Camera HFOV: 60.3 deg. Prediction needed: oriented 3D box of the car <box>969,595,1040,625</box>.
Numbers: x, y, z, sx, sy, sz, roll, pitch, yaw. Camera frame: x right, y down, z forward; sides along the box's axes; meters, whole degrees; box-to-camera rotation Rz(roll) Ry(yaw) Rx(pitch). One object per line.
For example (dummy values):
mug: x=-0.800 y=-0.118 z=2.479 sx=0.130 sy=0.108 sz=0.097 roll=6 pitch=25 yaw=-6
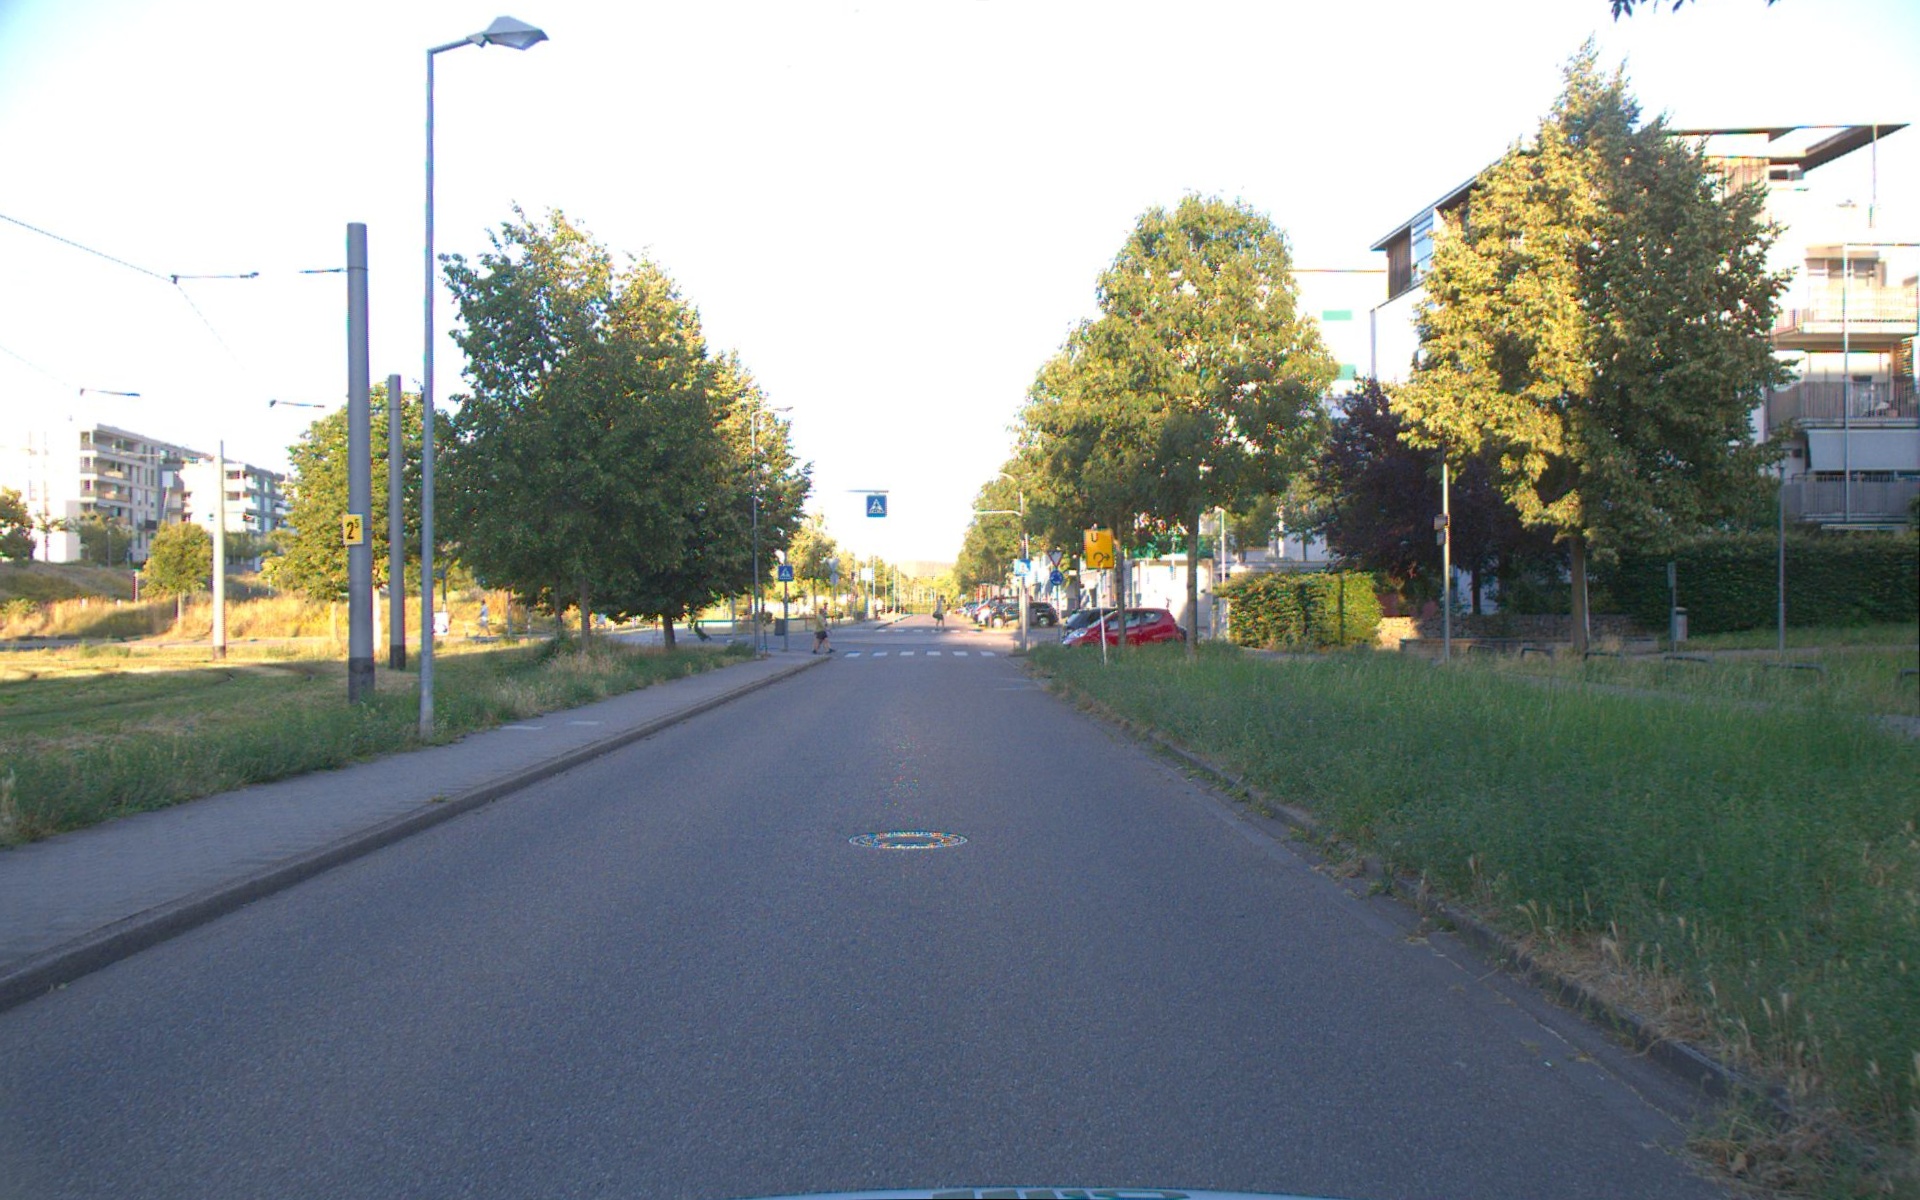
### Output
car: x=3.208 y=0.750 z=119.737 sx=4.906 sy=2.081 sz=2.248 roll=-1 pitch=0 yaw=-6

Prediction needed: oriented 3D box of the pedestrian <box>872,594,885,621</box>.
pedestrian: x=-6.290 y=0.556 z=127.993 sx=0.851 sy=2.049 sz=0.787 roll=-1 pitch=0 yaw=-11

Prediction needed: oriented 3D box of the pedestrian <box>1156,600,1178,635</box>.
pedestrian: x=10.623 y=0.902 z=84.860 sx=0.984 sy=1.819 sz=0.761 roll=1 pitch=-1 yaw=-7

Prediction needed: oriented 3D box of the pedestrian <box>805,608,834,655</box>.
pedestrian: x=-5.293 y=1.181 z=62.291 sx=0.966 sy=1.723 sz=0.698 roll=-1 pitch=0 yaw=-12

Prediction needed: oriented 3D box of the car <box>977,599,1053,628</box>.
car: x=3.173 y=0.763 z=96.502 sx=4.392 sy=1.624 sz=2.000 roll=-1 pitch=0 yaw=0

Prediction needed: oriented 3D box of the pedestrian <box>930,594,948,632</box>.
pedestrian: x=-1.136 y=0.699 z=89.048 sx=0.828 sy=2.049 sz=0.944 roll=-1 pitch=0 yaw=5

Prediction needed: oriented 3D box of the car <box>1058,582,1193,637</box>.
car: x=4.853 y=0.276 z=48.785 sx=3.726 sy=1.535 sz=1.678 roll=-1 pitch=0 yaw=-3

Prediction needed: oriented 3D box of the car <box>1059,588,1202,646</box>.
car: x=4.725 y=0.458 z=46.140 sx=3.726 sy=1.535 sz=1.678 roll=-1 pitch=0 yaw=-3

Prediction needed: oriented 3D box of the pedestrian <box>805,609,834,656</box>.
pedestrian: x=-5.230 y=1.188 z=61.581 sx=1.000 sy=1.723 sz=0.757 roll=-1 pitch=0 yaw=-12

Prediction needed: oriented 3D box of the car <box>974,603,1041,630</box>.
car: x=2.990 y=1.009 z=104.443 sx=4.176 sy=1.624 sz=2.000 roll=-1 pitch=0 yaw=0
